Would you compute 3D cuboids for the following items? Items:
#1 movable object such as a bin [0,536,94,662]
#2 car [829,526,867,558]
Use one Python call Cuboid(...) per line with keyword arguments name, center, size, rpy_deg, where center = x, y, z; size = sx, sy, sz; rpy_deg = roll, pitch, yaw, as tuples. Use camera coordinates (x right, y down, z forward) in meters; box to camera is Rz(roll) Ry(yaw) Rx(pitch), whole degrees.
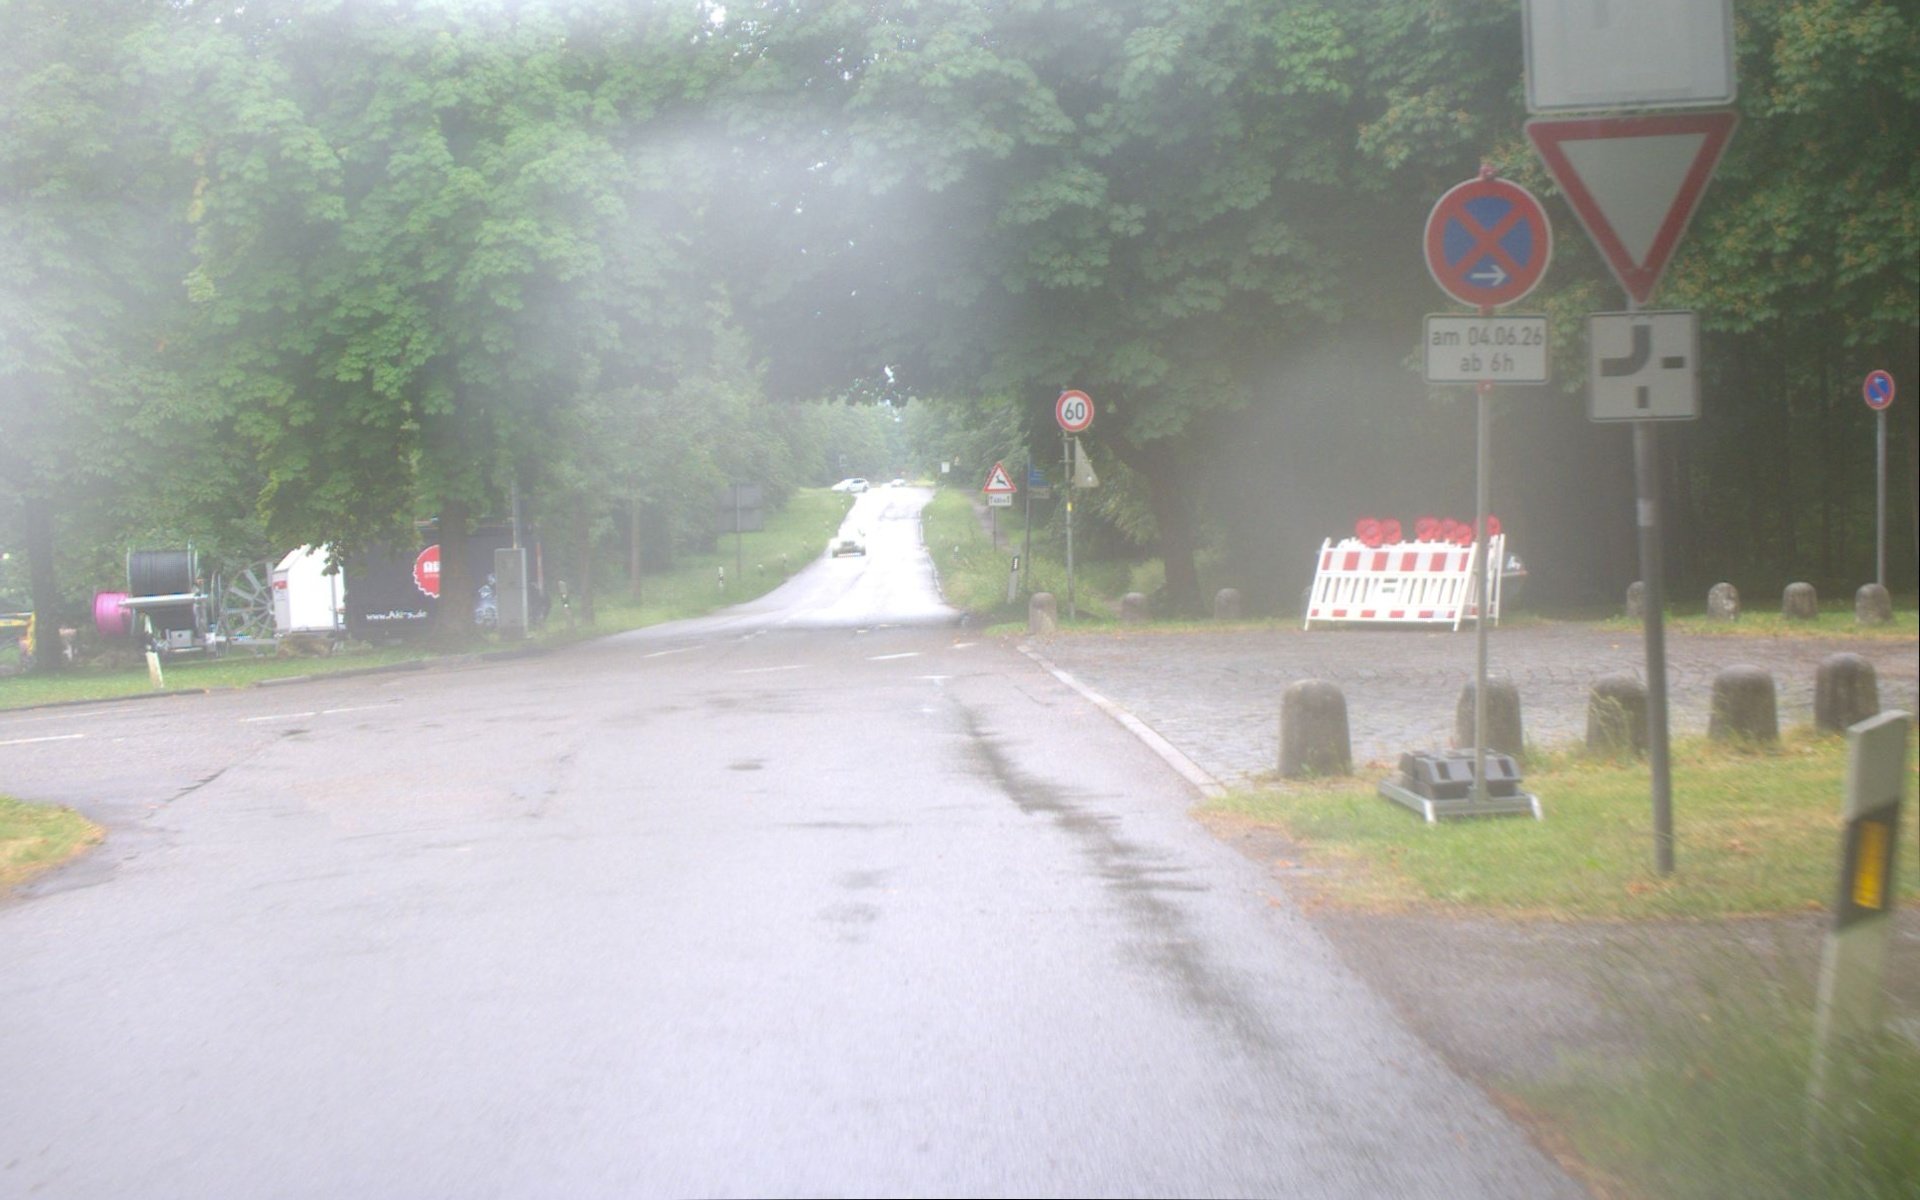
Cuboid(name="movable object such as a bin", center=(-26.403, 0.018, 94.783), size=(4.580, 3.282, 3.667), rpy_deg=(-3, 1, -11))
Cuboid(name="car", center=(-6.395, -3.310, 196.938), size=(1.993, 1.711, 4.000), rpy_deg=(-3, 1, -1))
